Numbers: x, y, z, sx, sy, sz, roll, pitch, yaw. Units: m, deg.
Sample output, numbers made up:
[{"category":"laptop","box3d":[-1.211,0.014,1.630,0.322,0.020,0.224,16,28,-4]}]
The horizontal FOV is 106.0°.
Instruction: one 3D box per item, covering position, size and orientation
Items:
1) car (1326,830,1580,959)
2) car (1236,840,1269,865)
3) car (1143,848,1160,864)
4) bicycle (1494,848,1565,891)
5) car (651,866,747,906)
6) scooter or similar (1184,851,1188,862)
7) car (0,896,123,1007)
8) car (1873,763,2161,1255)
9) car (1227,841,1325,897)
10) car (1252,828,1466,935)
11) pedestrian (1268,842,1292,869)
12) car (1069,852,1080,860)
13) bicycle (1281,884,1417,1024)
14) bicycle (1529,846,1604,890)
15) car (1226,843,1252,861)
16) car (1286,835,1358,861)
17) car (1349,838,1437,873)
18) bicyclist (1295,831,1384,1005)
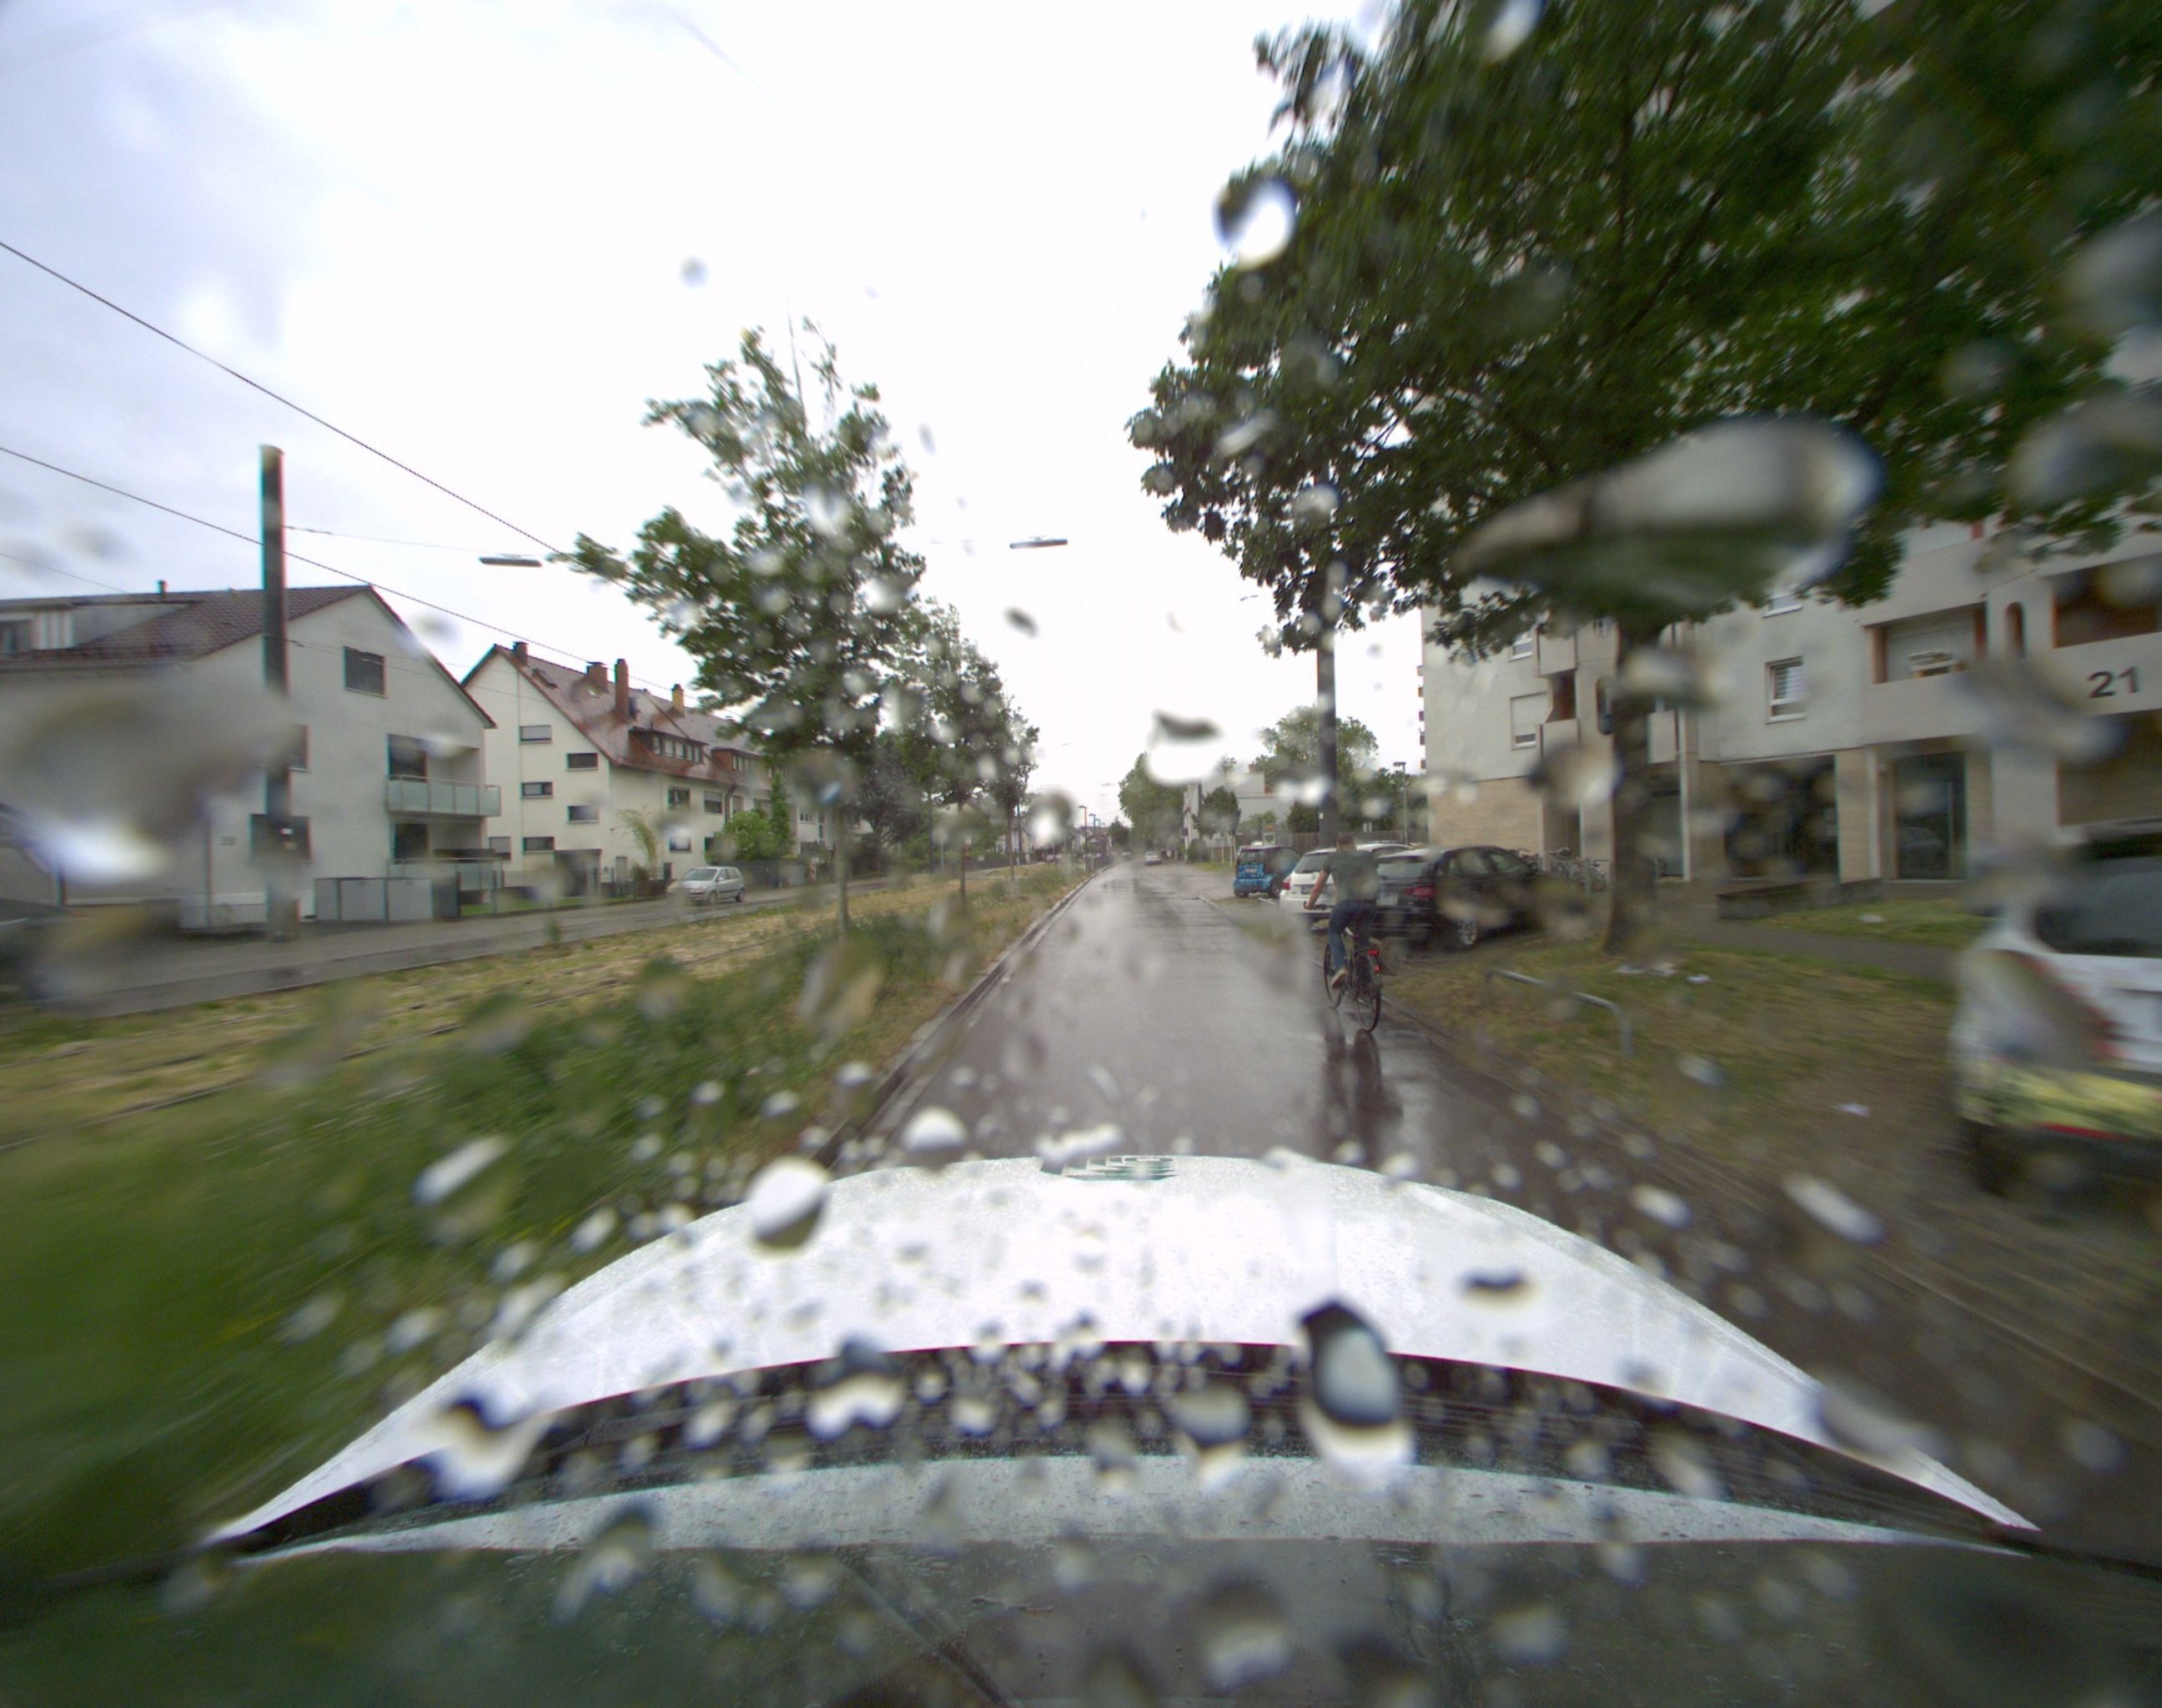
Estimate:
[{"category":"car","box3d":[5.713,0.511,12.352,3.962,1.431,1.666,-5,1,-35]},{"category":"car","box3d":[13.234,-0.161,63.052,1.953,1.784,4.905,-1,1,6]},{"category":"car","box3d":[7.459,0.234,85.762,1.642,1.405,4.655,-5,-1,5]},{"category":"bicycle","box3d":[10.915,0.371,19.889,0.658,1.006,2.059,-1,-1,3]},{"category":"car","box3d":[-14.924,1.207,32.023,1.986,1.414,3.658,-1,-1,1]},{"category":"scooter or similar","box3d":[10.821,0.237,83.728,0.331,1.085,1.399,-1,-1,10]},{"category":"car","box3d":[-15.504,1.351,10.277,1.830,1.427,4.175,-1,-1,1]},{"category":"car","box3d":[5.504,0.398,3.884,4.204,1.671,1.666,-5,1,-35]},{"category":"car","box3d":[5.929,0.432,24.763,2.577,1.548,1.585,-2,-1,-38]},{"category":"car","box3d":[5.348,0.434,15.419,4.206,1.547,1.745,-5,2,-38]},{"category":"pedestrian","box3d":[11.278,0.086,46.183,0.840,1.517,1.085,0,-1,-27]},{"category":"car","box3d":[-1.469,0.445,178.935,1.918,1.486,4.008,-1,-1,8]},{"category":"bicycle","box3d":[2.451,0.857,7.688,0.535,1.093,1.946,-1,-1,-3]},{"category":"bicycle","box3d":[11.780,0.332,19.841,0.658,1.006,2.059,-1,-1,3]},{"category":"car","box3d":[14.467,-0.210,74.901,1.953,1.535,4.371,-1,1,6]},{"category":"car","box3d":[14.347,-0.360,48.687,2.003,1.441,3.967,-1,-1,-25]},{"category":"car","box3d":[15.280,0.034,39.894,4.123,1.616,1.799,-1,0,-28]},{"category":"bicyclist","box3d":[2.442,0.582,7.752,0.533,1.559,0.771,-1,-1,-4]}]
